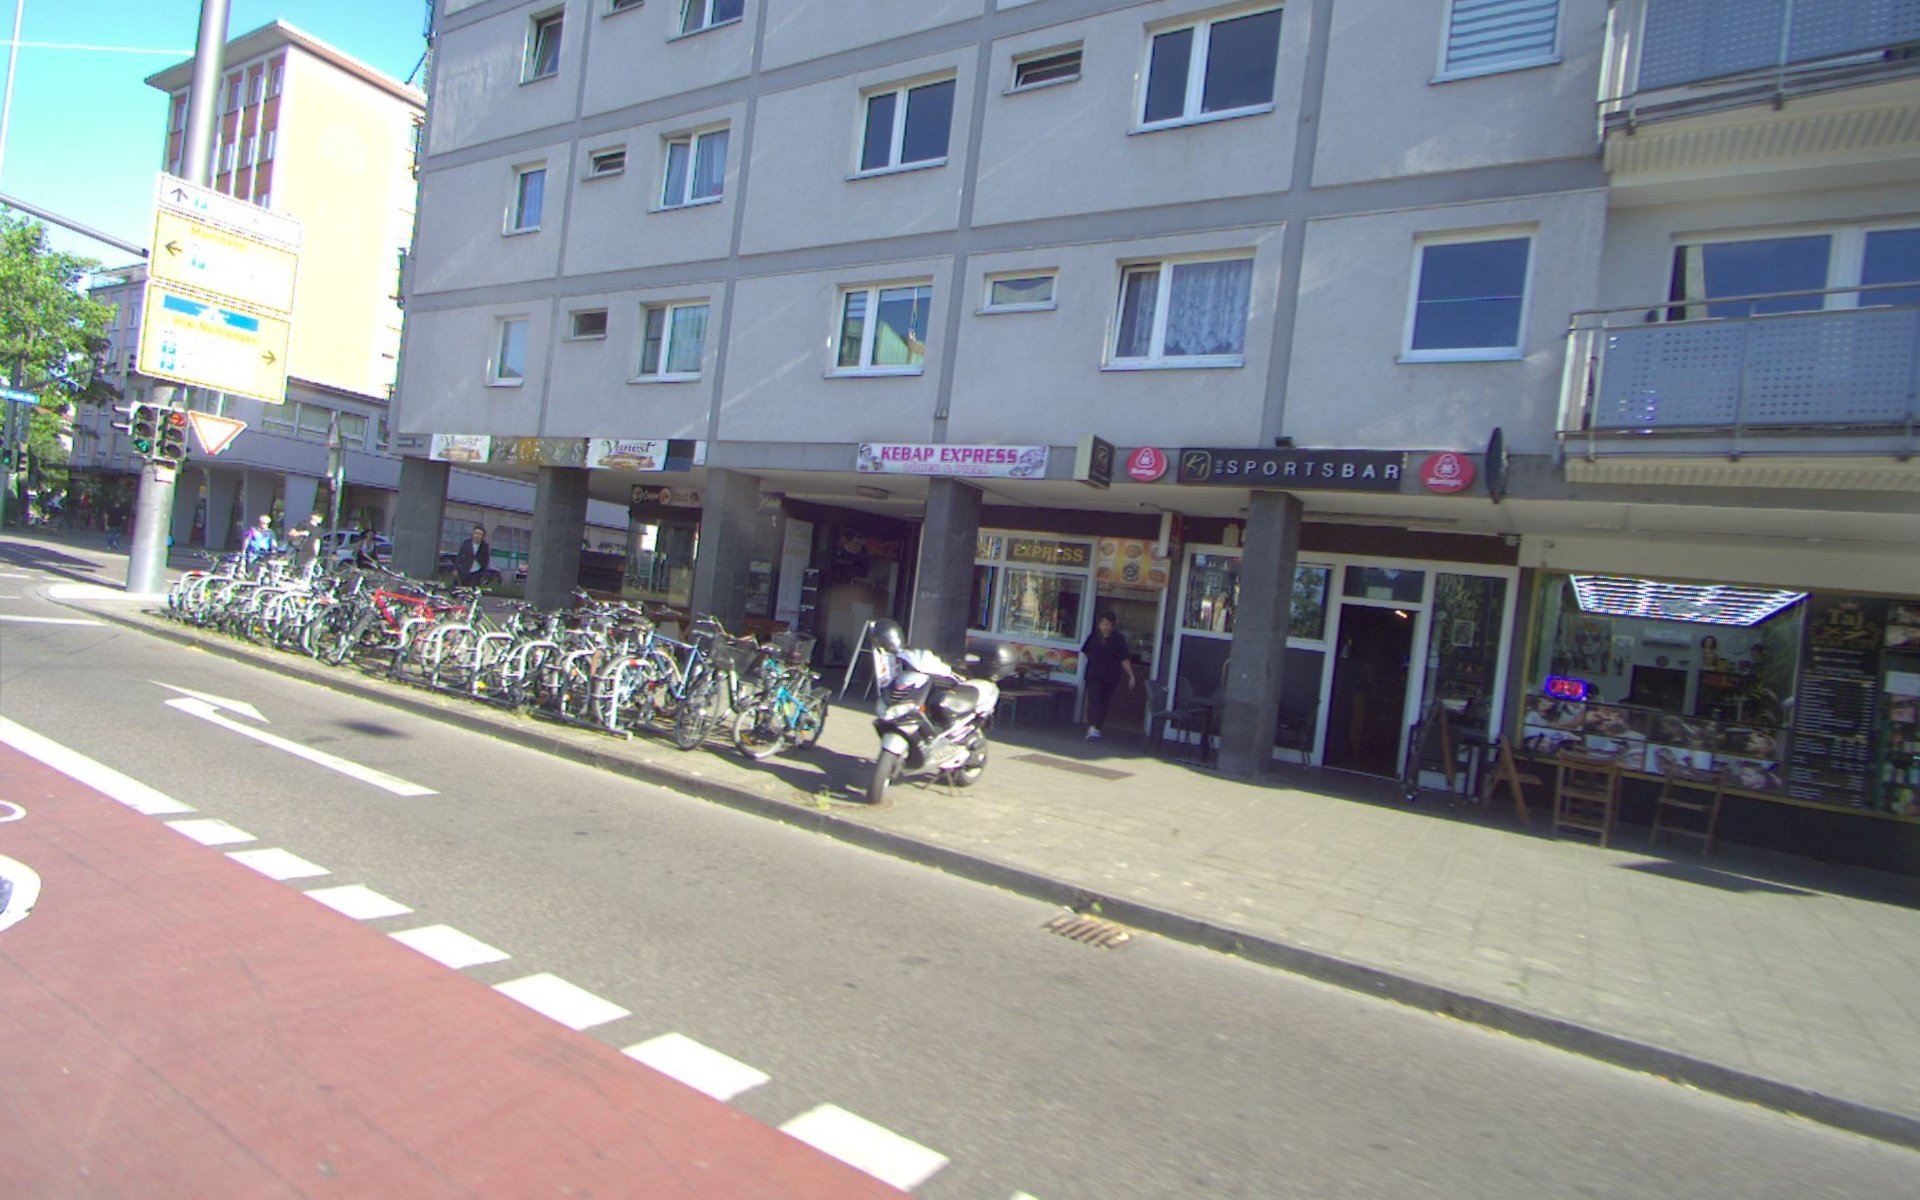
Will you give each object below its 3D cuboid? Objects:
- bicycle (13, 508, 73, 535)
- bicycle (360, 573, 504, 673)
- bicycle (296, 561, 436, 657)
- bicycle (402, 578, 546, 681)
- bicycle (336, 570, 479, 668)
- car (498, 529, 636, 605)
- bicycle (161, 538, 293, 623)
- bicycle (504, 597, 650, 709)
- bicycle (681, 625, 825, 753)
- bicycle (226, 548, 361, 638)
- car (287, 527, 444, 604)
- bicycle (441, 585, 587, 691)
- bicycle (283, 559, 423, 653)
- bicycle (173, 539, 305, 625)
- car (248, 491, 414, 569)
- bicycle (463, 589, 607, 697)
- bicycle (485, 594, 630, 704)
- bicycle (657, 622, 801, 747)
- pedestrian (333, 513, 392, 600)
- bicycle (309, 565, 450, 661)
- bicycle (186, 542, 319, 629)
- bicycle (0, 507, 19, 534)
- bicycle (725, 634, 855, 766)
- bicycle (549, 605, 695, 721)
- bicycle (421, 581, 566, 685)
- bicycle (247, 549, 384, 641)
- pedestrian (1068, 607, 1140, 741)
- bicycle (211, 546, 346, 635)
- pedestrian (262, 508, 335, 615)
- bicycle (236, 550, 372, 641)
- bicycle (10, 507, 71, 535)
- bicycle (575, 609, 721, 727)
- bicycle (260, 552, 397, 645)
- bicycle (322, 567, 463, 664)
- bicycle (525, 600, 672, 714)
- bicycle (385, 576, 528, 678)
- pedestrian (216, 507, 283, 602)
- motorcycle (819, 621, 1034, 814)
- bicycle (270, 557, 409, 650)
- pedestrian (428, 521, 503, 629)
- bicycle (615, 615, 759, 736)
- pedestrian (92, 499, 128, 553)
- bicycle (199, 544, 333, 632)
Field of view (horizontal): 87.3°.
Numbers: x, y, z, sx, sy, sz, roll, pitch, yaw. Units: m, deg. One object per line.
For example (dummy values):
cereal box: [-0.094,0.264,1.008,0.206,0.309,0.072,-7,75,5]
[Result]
bicycle: [-50.390,-4.294,55.308,2.306,1.080,0.551,10,-2,-36]
bicycle: [-6.125,0.294,11.745,0.253,1.080,1.466,7,0,33]
bicycle: [-7.373,0.137,12.543,0.253,1.080,1.466,7,0,33]
bicycle: [-5.460,0.361,11.386,0.253,1.080,1.466,7,0,33]
bicycle: [-6.572,0.255,12.030,0.253,1.080,1.466,7,0,33]
car: [-15.764,-1.283,40.630,2.153,2.237,4.602,7,-3,33]
bicycle: [-10.524,-0.260,14.488,0.253,1.080,1.466,7,0,33]
bicycle: [-3.969,0.567,10.534,0.253,1.080,1.466,7,0,33]
bicycle: [-1.877,0.817,9.312,0.253,1.080,1.466,7,0,33]
bicycle: [-8.968,-0.071,13.585,0.253,1.080,1.466,7,0,33]
car: [-21.588,-1.210,36.697,1.940,2.036,4.370,7,-3,33]
bicycle: [-4.857,0.442,11.041,0.253,1.080,1.466,7,0,33]
bicycle: [-7.636,0.106,12.718,0.253,1.080,1.466,7,0,33]
bicycle: [-10.209,-0.230,14.293,0.253,1.080,1.466,7,0,33]
car: [-24.057,-2.637,38.643,2.222,2.036,4.738,7,-3,33]
bicycle: [-4.556,0.490,10.888,0.253,1.080,1.466,7,0,32]
bicycle: [-4.240,0.537,10.698,0.253,1.080,1.466,7,0,33]
bicycle: [-2.144,0.795,9.506,0.253,1.080,1.466,7,0,33]
pedestrian: [-14.993,-1.096,25.247,0.875,2.036,0.901,9,-2,-44]
bicycle: [-7.112,0.183,12.383,0.253,1.080,1.466,7,0,33]
bicycle: [-9.905,-0.177,14.140,0.253,1.080,1.466,7,0,33]
bicycle: [-40.720,-3.404,42.767,1.912,1.020,0.418,7,-2,31]
bicycle: [-1.502,0.881,9.112,0.252,1.080,1.468,6,0,26]
bicycle: [-3.375,0.643,10.162,0.253,1.080,1.466,7,0,33]
bicycle: [-5.151,0.396,11.202,0.253,1.080,1.466,7,0,33]
bicycle: [-8.429,-0.037,13.215,0.253,1.080,1.466,7,0,33]
pedestrian: [1.823,0.925,12.740,0.565,1.603,0.555,7,2,32]
bicycle: [-9.283,-0.104,13.750,0.253,1.080,1.466,7,0,33]
pedestrian: [-13.434,-0.780,20.438,0.857,2.036,0.791,7,-2,39]
bicycle: [-8.688,-0.032,13.379,0.253,1.080,1.466,7,0,33]
bicycle: [-50.049,-4.292,54.774,2.306,1.080,0.551,10,-2,-36]
bicycle: [-3.054,0.680,9.981,0.253,1.080,1.466,7,0,33]
bicycle: [-8.160,0.007,13.057,0.253,1.080,1.466,7,0,33]
bicycle: [-6.852,0.214,12.213,0.253,1.080,1.466,7,0,33]
bicycle: [-3.683,0.599,10.356,0.253,1.080,1.466,7,0,33]
bicycle: [-5.748,0.333,11.560,0.253,1.080,1.466,7,0,33]
pedestrian: [-15.083,-0.970,21.352,0.823,1.877,0.905,9,-2,-44]
motorcycle: [-0.208,0.906,8.127,0.642,1.317,1.855,7,0,34]
bicycle: [-7.908,0.074,12.883,0.253,1.080,1.466,7,0,33]
pedestrian: [-10.019,-0.501,20.392,0.877,2.036,0.843,6,-2,41]
bicycle: [-2.622,0.736,9.809,0.253,1.080,1.466,7,0,33]
pedestrian: [-32.385,-2.821,38.331,0.693,1.941,0.708,7,-2,35]
bicycle: [-9.592,-0.144,13.949,0.253,1.080,1.466,7,0,33]
